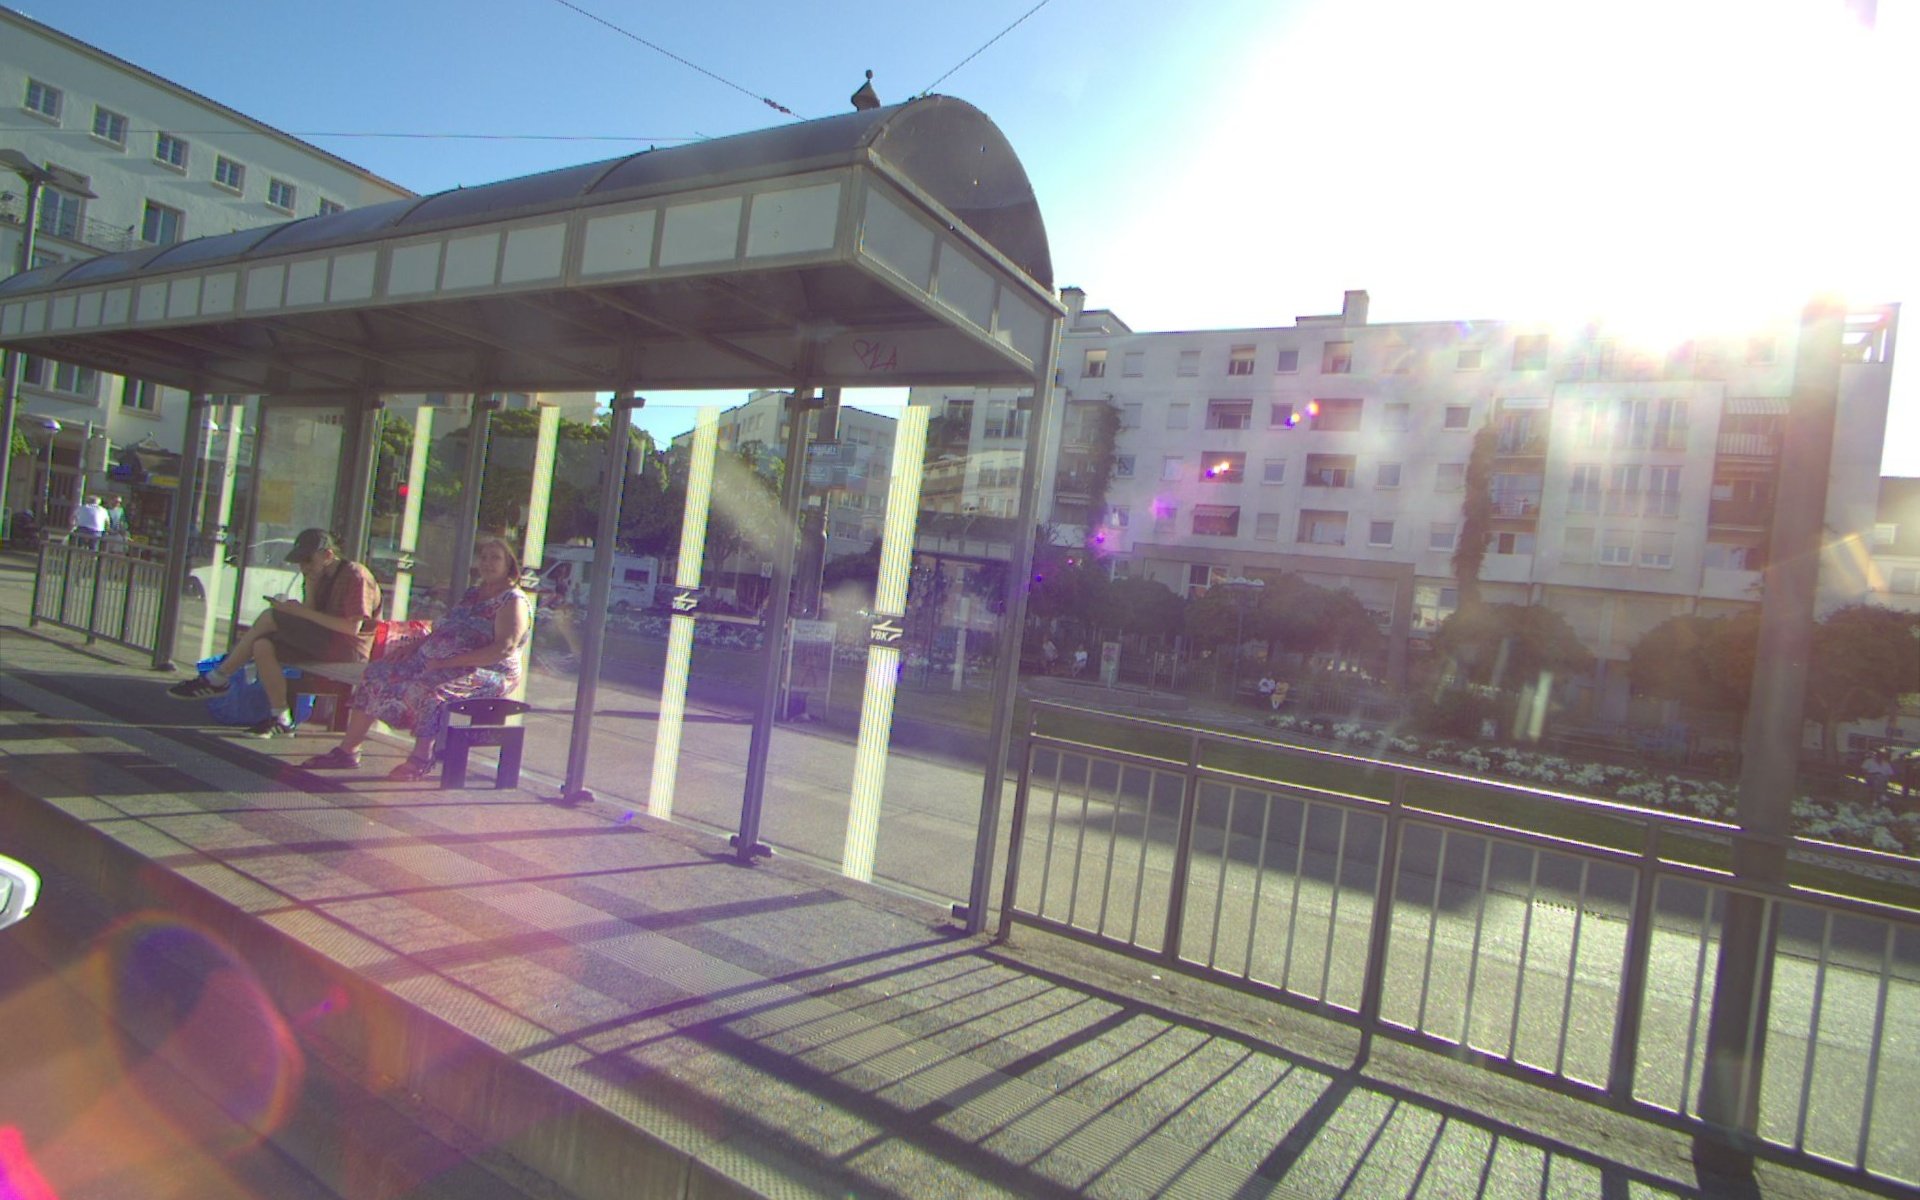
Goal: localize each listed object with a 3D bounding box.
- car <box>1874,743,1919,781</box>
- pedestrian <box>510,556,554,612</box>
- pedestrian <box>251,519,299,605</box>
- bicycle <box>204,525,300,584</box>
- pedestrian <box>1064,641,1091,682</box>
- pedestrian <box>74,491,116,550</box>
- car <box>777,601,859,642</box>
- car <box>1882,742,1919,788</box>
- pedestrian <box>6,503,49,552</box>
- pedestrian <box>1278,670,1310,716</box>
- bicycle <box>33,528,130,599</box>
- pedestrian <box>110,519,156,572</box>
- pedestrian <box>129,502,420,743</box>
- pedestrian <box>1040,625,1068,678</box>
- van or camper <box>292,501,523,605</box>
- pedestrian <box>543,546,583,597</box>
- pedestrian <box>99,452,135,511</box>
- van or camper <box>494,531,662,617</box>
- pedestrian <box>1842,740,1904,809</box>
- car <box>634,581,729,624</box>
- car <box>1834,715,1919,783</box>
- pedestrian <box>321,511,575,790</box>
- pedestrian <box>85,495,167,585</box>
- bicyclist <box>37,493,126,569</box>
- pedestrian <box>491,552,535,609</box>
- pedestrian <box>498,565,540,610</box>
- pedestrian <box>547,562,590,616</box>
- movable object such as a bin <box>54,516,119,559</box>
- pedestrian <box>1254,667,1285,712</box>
[{"bbox_3d":[39.784,6.786,40.636,3.941,1.303,1.993,7,-1,38],"label":"car"},{"bbox_3d":[-13.318,-0.486,31.294,0.651,1.605,0.902,7,0,35],"label":"pedestrian"},{"bbox_3d":[-14.702,-0.816,21.585,0.520,1.765,0.557,6,-1,42],"label":"pedestrian"},{"bbox_3d":[-23.521,-1.486,33.478,0.714,1.548,2.391,7,-3,31],"label":"bicycle"},{"bbox_3d":[4.082,2.125,34.849,0.718,1.287,1.042,7,0,11],"label":"pedestrian"},{"bbox_3d":[-29.430,-2.697,34.235,0.667,1.861,0.785,7,0,35],"label":"pedestrian"},{"bbox_3d":[-6.709,1.065,47.917,1.964,1.503,4.000,7,-1,23],"label":"car"},{"bbox_3d":[36.593,6.302,36.769,3.941,1.535,1.993,7,-1,38],"label":"car"},{"bbox_3d":[-28.022,-2.169,30.236,0.736,1.332,0.622,7,0,-35],"label":"pedestrian"},{"bbox_3d":[10.327,2.866,31.129,0.718,1.287,0.745,7,0,11],"label":"pedestrian"},{"bbox_3d":[-16.697,-0.711,19.101,2.286,1.073,0.720,7,-2,34],"label":"bicycle"},{"bbox_3d":[-25.355,-1.665,30.839,0.742,1.427,0.731,11,1,32],"label":"pedestrian"},{"bbox_3d":[-4.053,0.151,5.995,0.908,1.238,1.001,6,-4,32],"label":"pedestrian"},{"bbox_3d":[3.261,1.800,34.960,0.661,1.745,1.028,7,0,11],"label":"pedestrian"},{"bbox_3d":[-20.439,-1.632,37.704,2.331,2.780,7.132,9,0,32],"label":"van or camper"},{"bbox_3d":[-13.444,-0.961,34.094,0.651,1.604,0.902,7,0,35],"label":"pedestrian"},{"bbox_3d":[-28.673,-4.027,34.217,0.649,1.861,0.653,7,0,35],"label":"pedestrian"},{"bbox_3d":[-16.483,-1.052,43.827,2.340,2.873,6.411,7,-1,35],"label":"van or camper"},{"bbox_3d":[21.609,4.109,23.837,0.923,1.428,1.521,7,-1,42],"label":"pedestrian"},{"bbox_3d":[-13.708,0.133,49.669,1.974,1.529,3.982,6,-3,43],"label":"car"},{"bbox_3d":[43.894,6.976,45.179,6.286,2.585,2.812,7,-1,28],"label":"car"},{"bbox_3d":[-2.742,0.289,5.446,0.613,1.348,0.861,6,-4,31],"label":"pedestrian"},{"bbox_3d":[-19.233,-1.378,23.208,1.110,1.900,0.983,6,-1,29],"label":"pedestrian"},{"bbox_3d":[-16.772,-1.316,19.212,0.919,1.239,0.952,7,-2,34],"label":"bicyclist"},{"bbox_3d":[-14.358,-0.615,32.340,0.684,1.705,0.902,7,0,35],"label":"pedestrian"},{"bbox_3d":[-13.939,-0.379,31.823,0.595,1.295,0.901,7,0,37],"label":"pedestrian"},{"bbox_3d":[-12.520,-0.343,32.163,0.651,1.605,0.902,7,0,35],"label":"pedestrian"},{"bbox_3d":[-28.100,-2.006,32.355,1.197,1.167,1.200,7,-1,32],"label":"movable object such as a bin"},{"bbox_3d":[9.623,2.769,31.297,0.718,1.287,0.745,7,0,11],"label":"pedestrian"}]
